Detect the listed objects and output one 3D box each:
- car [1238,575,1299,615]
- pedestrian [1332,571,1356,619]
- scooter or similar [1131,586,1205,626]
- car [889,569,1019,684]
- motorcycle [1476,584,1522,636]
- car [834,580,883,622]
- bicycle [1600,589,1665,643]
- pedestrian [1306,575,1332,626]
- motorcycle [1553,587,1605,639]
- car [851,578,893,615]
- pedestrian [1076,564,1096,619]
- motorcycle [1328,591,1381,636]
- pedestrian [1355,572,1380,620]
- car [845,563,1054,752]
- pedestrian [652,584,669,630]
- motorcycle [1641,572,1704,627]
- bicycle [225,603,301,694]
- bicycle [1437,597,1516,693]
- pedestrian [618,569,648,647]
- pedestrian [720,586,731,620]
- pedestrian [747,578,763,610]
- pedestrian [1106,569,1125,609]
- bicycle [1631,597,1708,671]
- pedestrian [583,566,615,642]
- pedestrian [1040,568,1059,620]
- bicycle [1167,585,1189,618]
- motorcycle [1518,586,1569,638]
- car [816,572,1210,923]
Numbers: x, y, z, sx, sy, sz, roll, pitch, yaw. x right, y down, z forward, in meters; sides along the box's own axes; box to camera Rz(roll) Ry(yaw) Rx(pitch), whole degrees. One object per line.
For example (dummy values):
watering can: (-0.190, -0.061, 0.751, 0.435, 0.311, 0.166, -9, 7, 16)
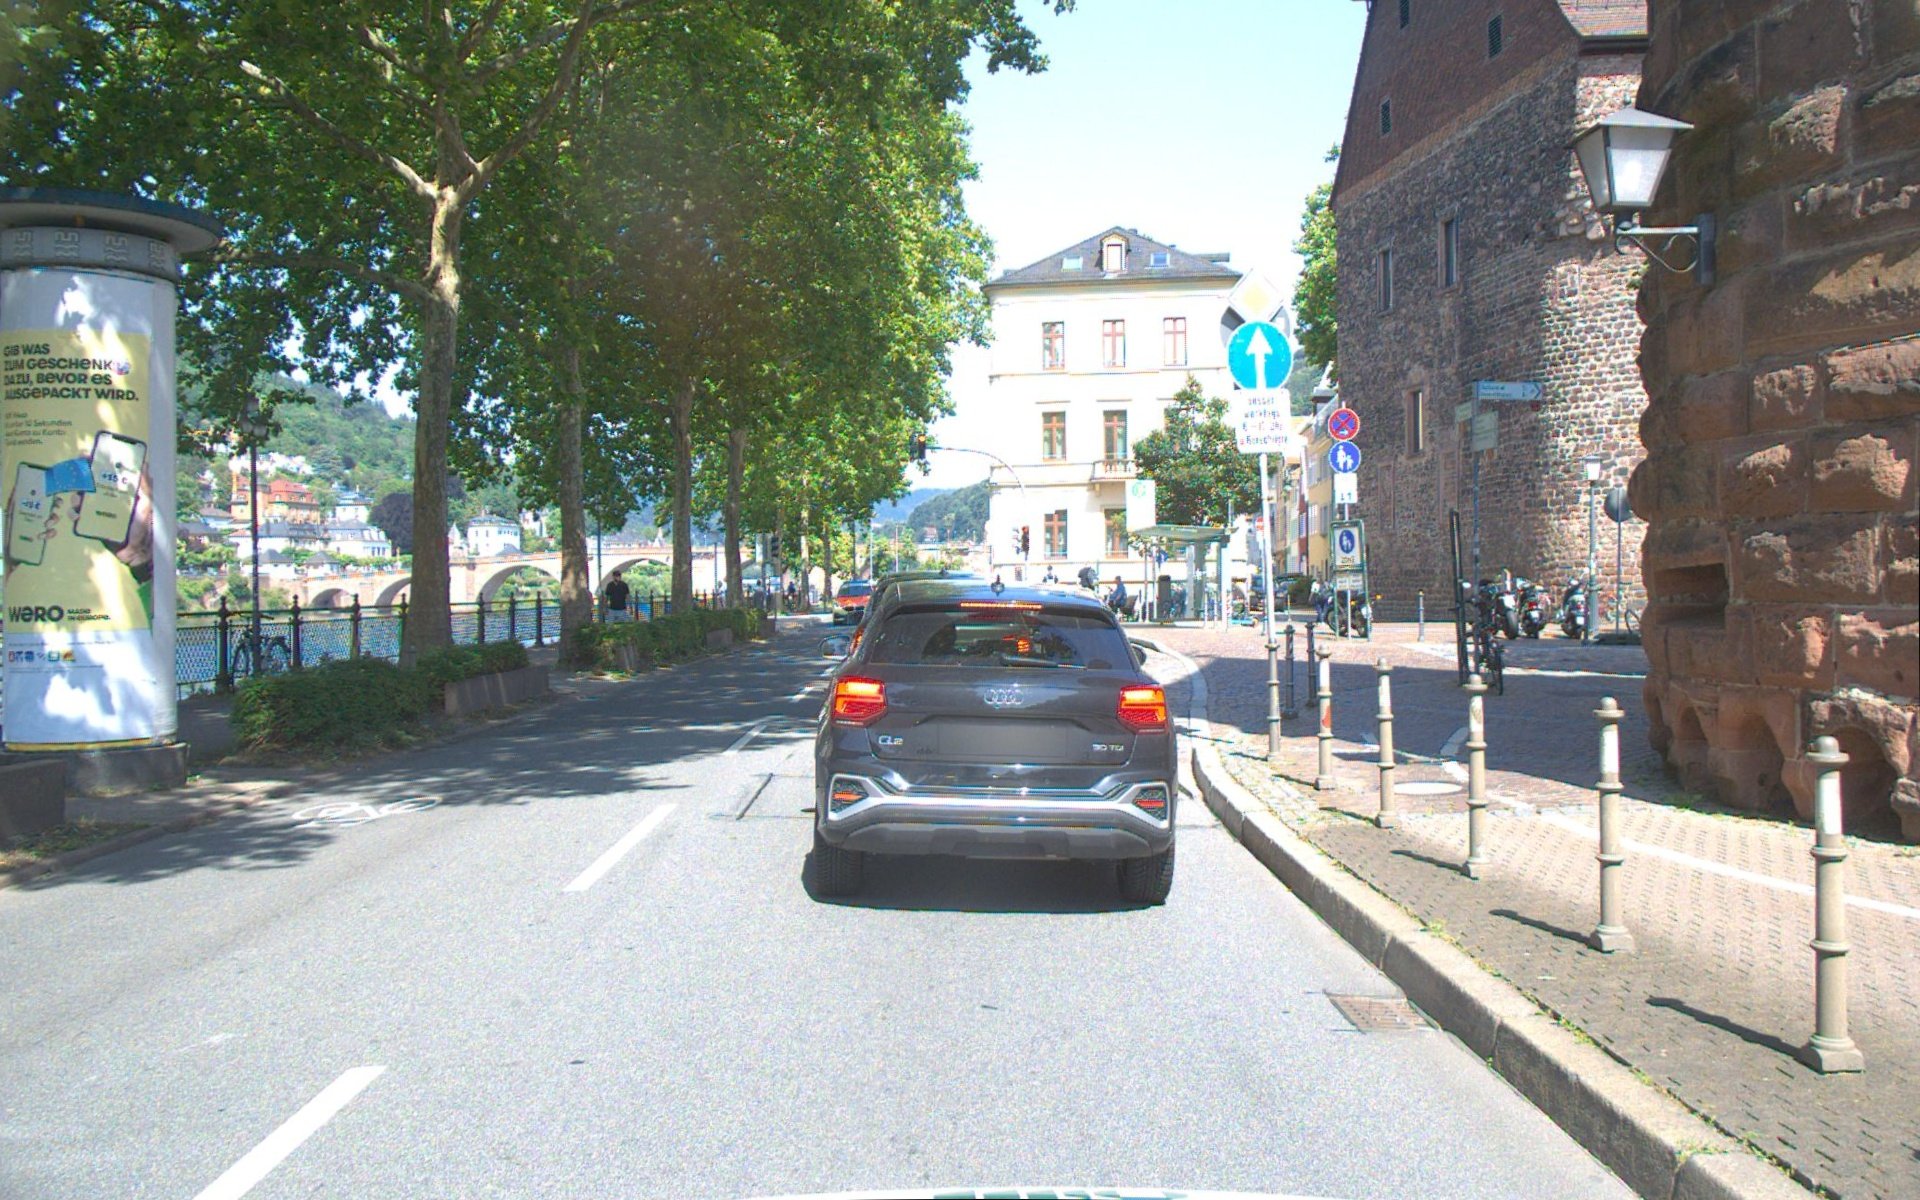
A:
car: (14.015, -0.232, 75.265, 1.953, 1.746, 4.000, 1, 0, 0)
pedestrian: (12.444, -0.153, 53.629, 0.644, 1.544, 0.548, 1, 0, 1)
scooter or similar: (5.310, 0.160, 42.281, 1.808, 0.980, 0.429, 1, 0, -2)
car: (-0.092, 0.358, 24.943, 1.764, 1.549, 3.715, -2, 1, 0)
motorcycle: (10.592, 0.188, 32.521, 0.427, 0.990, 1.359, 1, 0, 0)
car: (-3.951, 0.032, 64.919, 1.581, 1.549, 3.477, -2, 1, 1)
bicycle: (13.033, 0.298, 32.099, 0.395, 1.007, 1.825, 1, 0, -3)
pedestrian: (10.866, 0.001, 50.123, 0.644, 1.519, 0.548, 1, 0, 1)
motorcycle: (12.241, 0.249, 32.718, 0.449, 0.990, 1.466, 1, 0, 0)
car: (-3.909, -0.164, 73.643, 1.581, 1.549, 3.477, 1, 0, 1)
pedestrian: (3.853, -0.258, 50.776, 0.545, 1.661, 0.660, 1, 0, 0)
motorcycle: (7.801, 0.254, 32.761, 0.474, 0.832, 2.279, -2, 1, 0)
pedestrian: (13.209, -0.133, 53.607, 0.644, 1.544, 0.627, 1, 0, 1)
car: (-0.103, 0.492, 16.138, 1.764, 1.590, 3.715, 1, 0, 0)
pedestrian: (-10.277, 0.235, 56.718, 0.488, 1.564, 0.678, 2, 0, -8)
motorcycle: (14.077, -0.017, 32.709, 0.488, 1.037, 1.701, 1, 0, 0)
bicycle: (-9.562, 0.644, 22.744, 0.350, 1.182, 1.825, 1, 0, -3)
bicycle: (6.018, 0.496, 19.349, 0.485, 1.048, 2.052, -2, 0, 7)
pedestrian: (-7.626, 0.180, 38.597, 0.552, 1.772, 0.665, -2, 0, -4)
pedestrian: (-10.261, 0.129, 72.448, 0.401, 1.450, 0.457, 1, 0, -3)
pedestrian: (-8.580, -0.243, 69.269, 0.579, 1.301, 0.525, 1, 0, -1)
pedestrian: (4.771, -0.330, 50.732, 0.535, 1.222, 0.522, 1, 0, 0)
bicycle: (10.595, 0.480, 24.756, 0.485, 1.048, 2.052, 1, 0, 7)
pedestrian: (-8.388, 0.098, 38.474, 0.632, 1.747, 0.665, 0, 0, -4)
pedestrian: (2.769, -0.192, 51.203, 0.545, 1.585, 0.660, 1, 0, 0)
bicycle: (6.630, 0.043, 50.288, 0.441, 0.992, 1.399, 1, 0, 0)
motorcycle: (11.403, 0.229, 32.339, 0.449, 0.990, 1.466, 1, 0, 0)
car: (0.181, 0.634, 9.092, 1.713, 1.520, 3.628, 1, 1, -2)
